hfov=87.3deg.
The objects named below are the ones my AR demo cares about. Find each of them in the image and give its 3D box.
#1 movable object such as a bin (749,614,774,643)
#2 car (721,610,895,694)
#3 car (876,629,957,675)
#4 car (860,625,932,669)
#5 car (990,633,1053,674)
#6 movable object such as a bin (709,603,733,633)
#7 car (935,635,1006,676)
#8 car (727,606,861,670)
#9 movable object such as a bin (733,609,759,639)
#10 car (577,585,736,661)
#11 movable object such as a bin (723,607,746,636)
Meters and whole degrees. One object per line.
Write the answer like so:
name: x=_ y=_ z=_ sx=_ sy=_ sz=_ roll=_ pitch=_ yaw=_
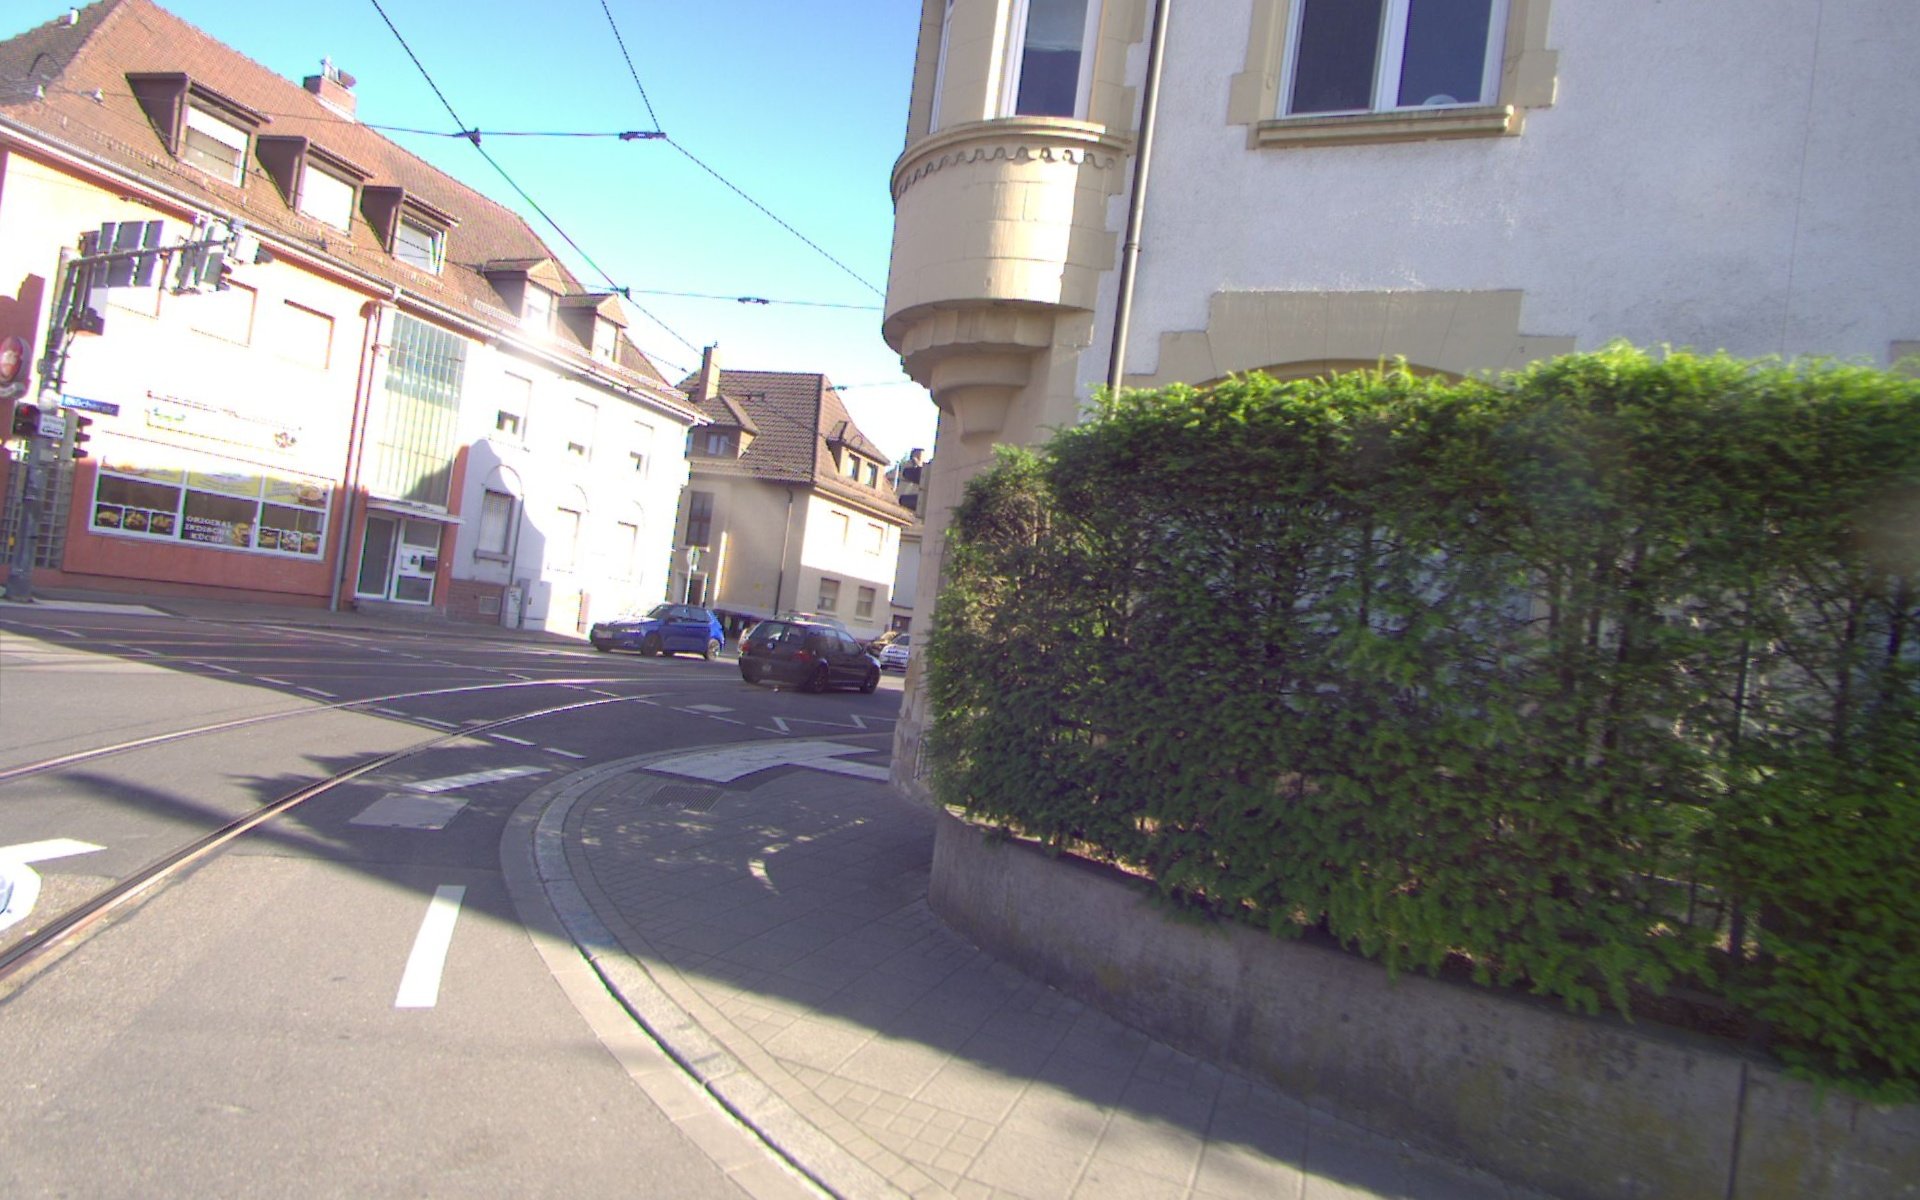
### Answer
movable object such as a bin: x=-8.273 y=1.200 z=41.928 sx=0.606 sy=1.092 sz=0.672 roll=10 pitch=0 yaw=22
car: x=-3.058 y=1.156 z=21.174 sx=1.690 sy=1.418 sz=4.008 roll=6 pitch=-2 yaw=22
car: x=-1.622 y=2.019 z=38.571 sx=1.559 sy=1.477 sz=3.614 roll=5 pitch=-3 yaw=23
car: x=-2.802 y=2.144 z=45.117 sx=1.591 sy=1.646 sz=3.924 roll=6 pitch=-2 yaw=21
car: x=3.145 y=2.710 z=50.596 sx=1.678 sy=1.724 sz=4.366 roll=7 pitch=-2 yaw=22
movable object such as a bin: x=-10.169 y=0.766 z=42.791 sx=0.606 sy=1.124 sz=0.590 roll=10 pitch=0 yaw=22
car: x=0.508 y=2.422 z=43.256 sx=1.593 sy=1.477 sz=4.077 roll=5 pitch=-3 yaw=22
car: x=-5.214 y=1.266 z=32.262 sx=1.713 sy=1.629 sz=4.713 roll=5 pitch=-3 yaw=26
movable object such as a bin: x=-8.987 y=1.021 z=42.242 sx=0.632 sy=1.124 sz=0.672 roll=10 pitch=0 yaw=22
car: x=-7.705 y=0.647 z=25.916 sx=1.659 sy=1.585 sz=3.929 roll=5 pitch=-3 yaw=24
movable object such as a bin: x=-9.535 y=0.923 z=42.575 sx=0.560 sy=1.124 sz=0.590 roll=10 pitch=0 yaw=22
